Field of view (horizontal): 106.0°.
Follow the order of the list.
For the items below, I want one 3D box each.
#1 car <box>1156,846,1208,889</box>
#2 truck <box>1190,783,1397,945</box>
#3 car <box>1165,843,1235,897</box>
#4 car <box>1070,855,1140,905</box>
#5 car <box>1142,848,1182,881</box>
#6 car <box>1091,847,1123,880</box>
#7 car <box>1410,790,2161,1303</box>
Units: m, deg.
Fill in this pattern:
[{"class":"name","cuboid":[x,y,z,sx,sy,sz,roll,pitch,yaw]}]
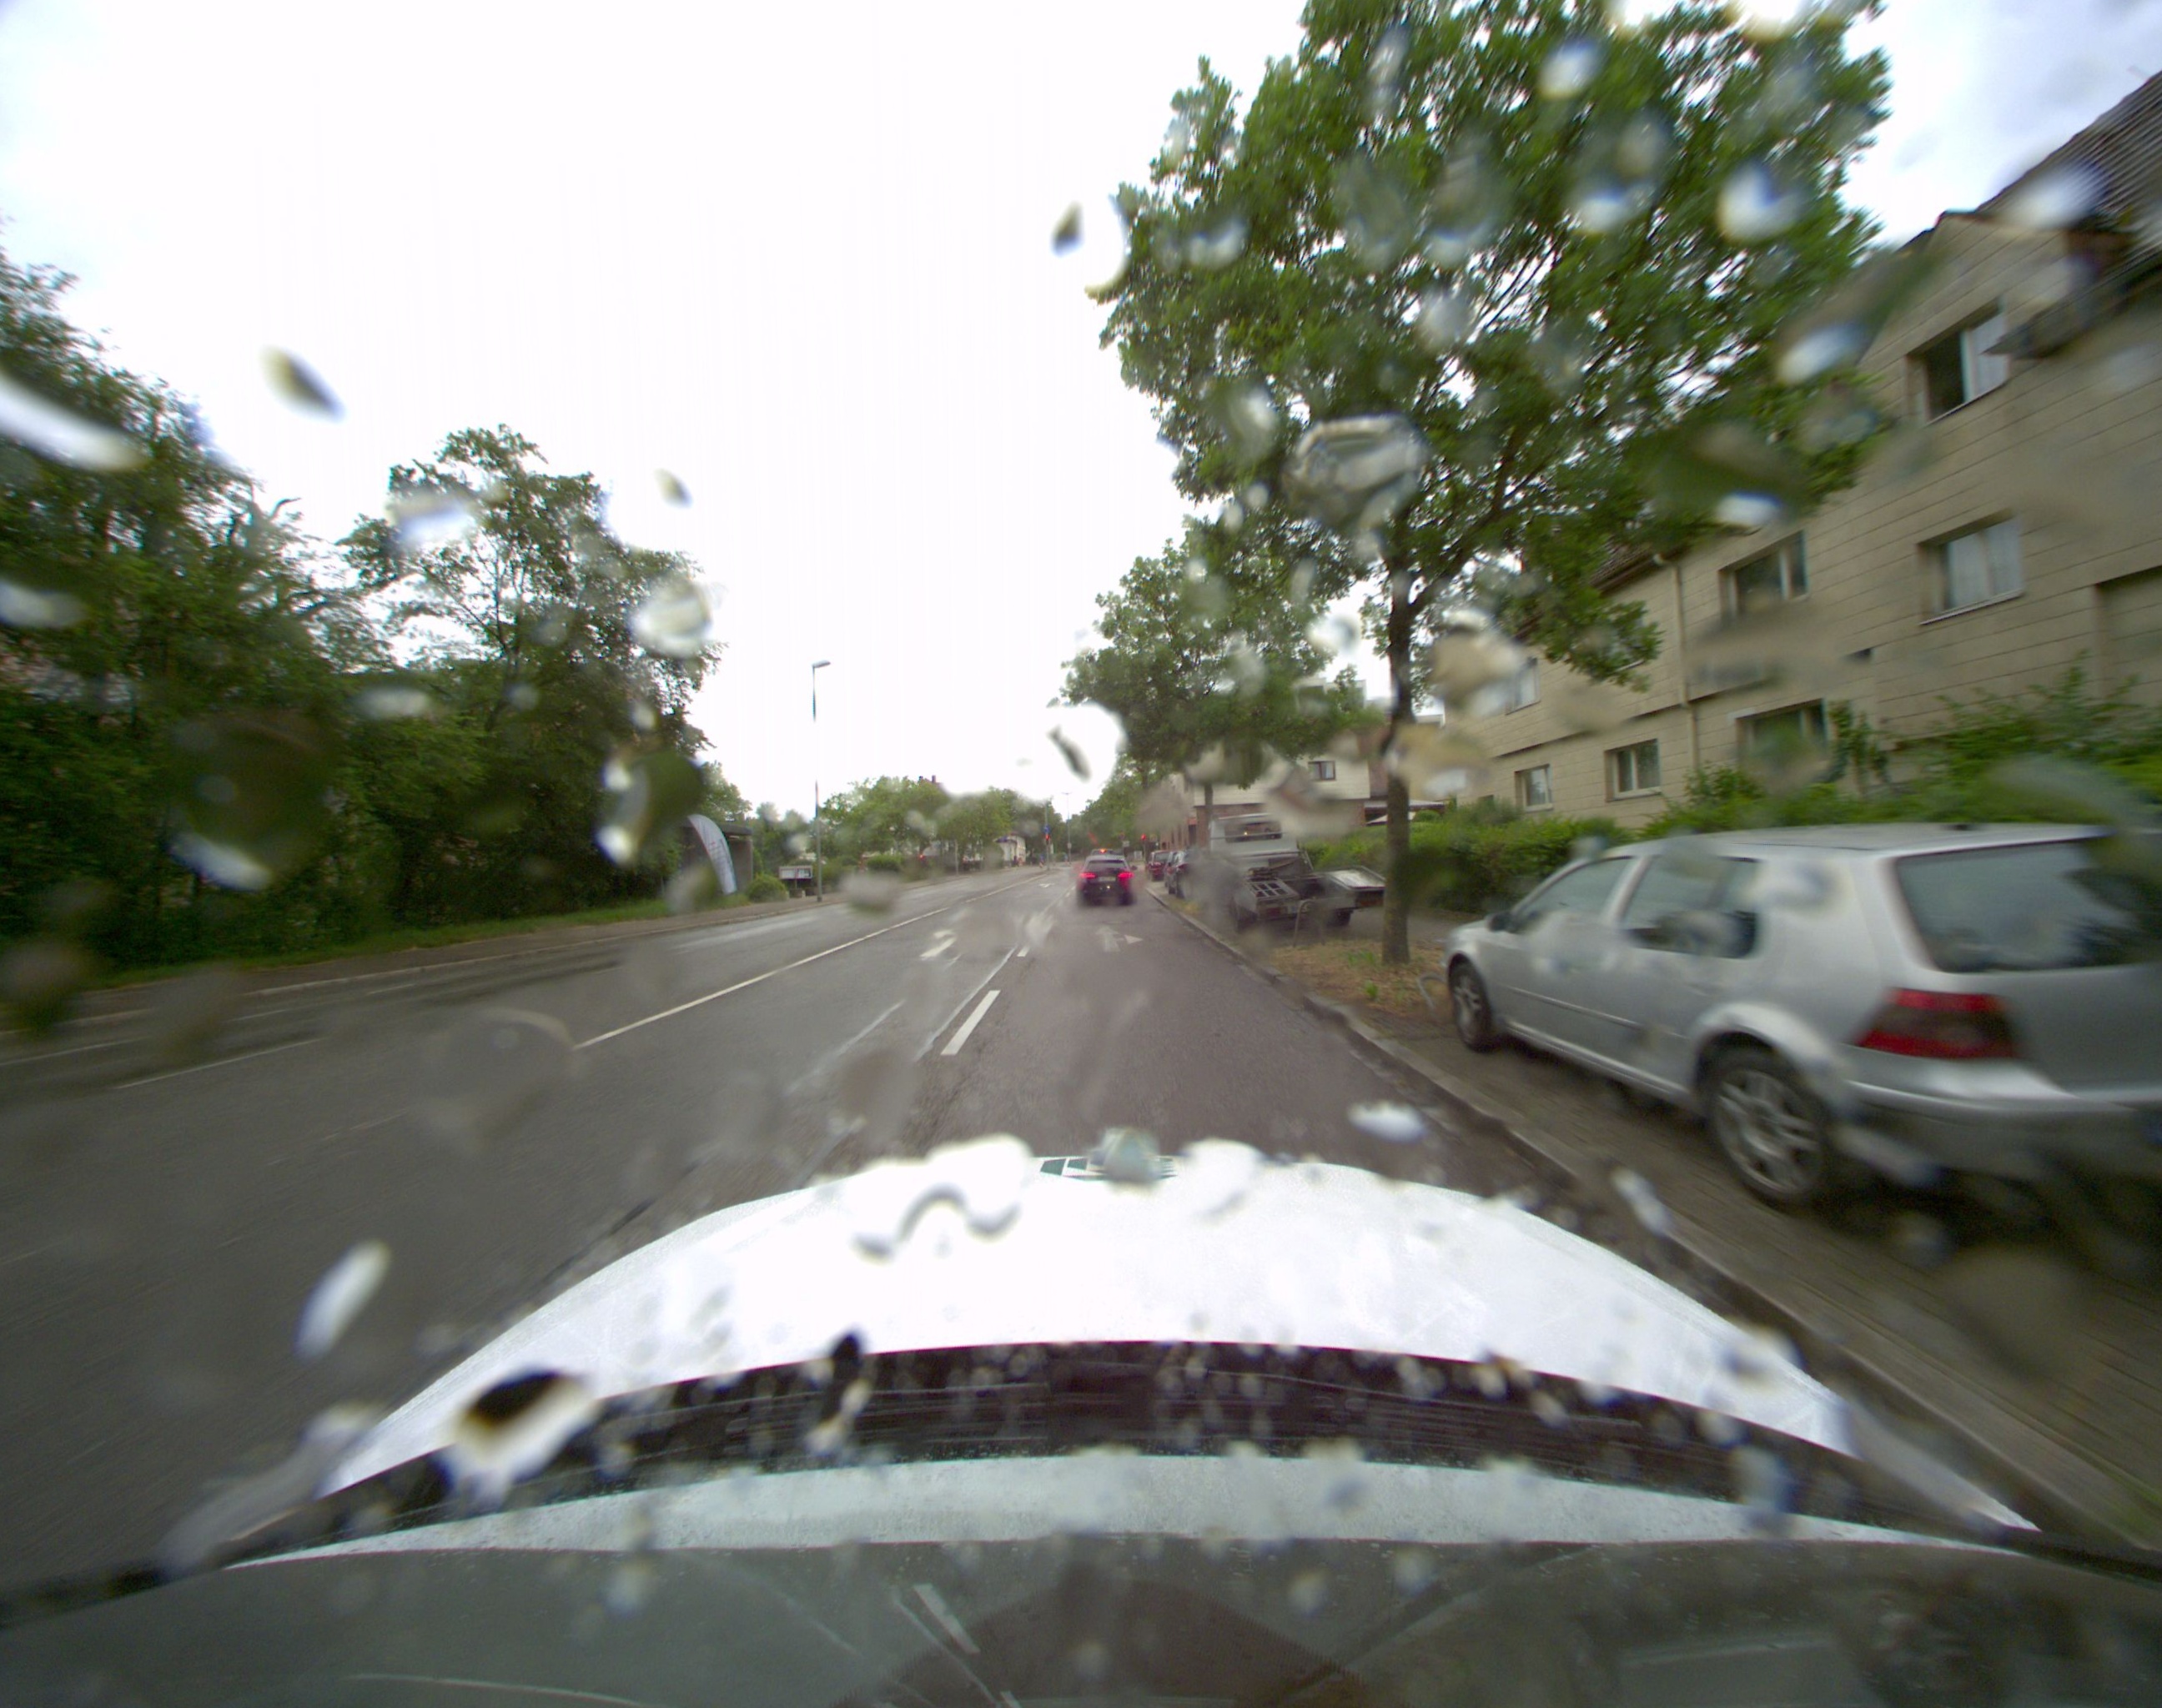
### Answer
[{"class":"car","cuboid":[3.991,0.507,32.769,1.598,1.472,3.858,-5,0,2]},{"class":"truck","cuboid":[3.604,0.141,15.415,2.073,2.221,6.501,-5,0,0]},{"class":"car","cuboid":[3.844,0.490,26.886,1.708,1.498,4.185,-5,0,2]},{"class":"car","cuboid":[0.728,0.783,26.578,2.058,1.446,4.482,-1,0,0]},{"class":"car","cuboid":[4.165,0.507,42.328,1.579,1.490,3.627,-5,1,0]},{"class":"car","cuboid":[1.511,0.549,48.834,1.778,1.817,4.000,-2,0,0]},{"class":"car","cuboid":[3.406,0.538,4.446,1.595,1.436,4.023,-5,0,2]}]
